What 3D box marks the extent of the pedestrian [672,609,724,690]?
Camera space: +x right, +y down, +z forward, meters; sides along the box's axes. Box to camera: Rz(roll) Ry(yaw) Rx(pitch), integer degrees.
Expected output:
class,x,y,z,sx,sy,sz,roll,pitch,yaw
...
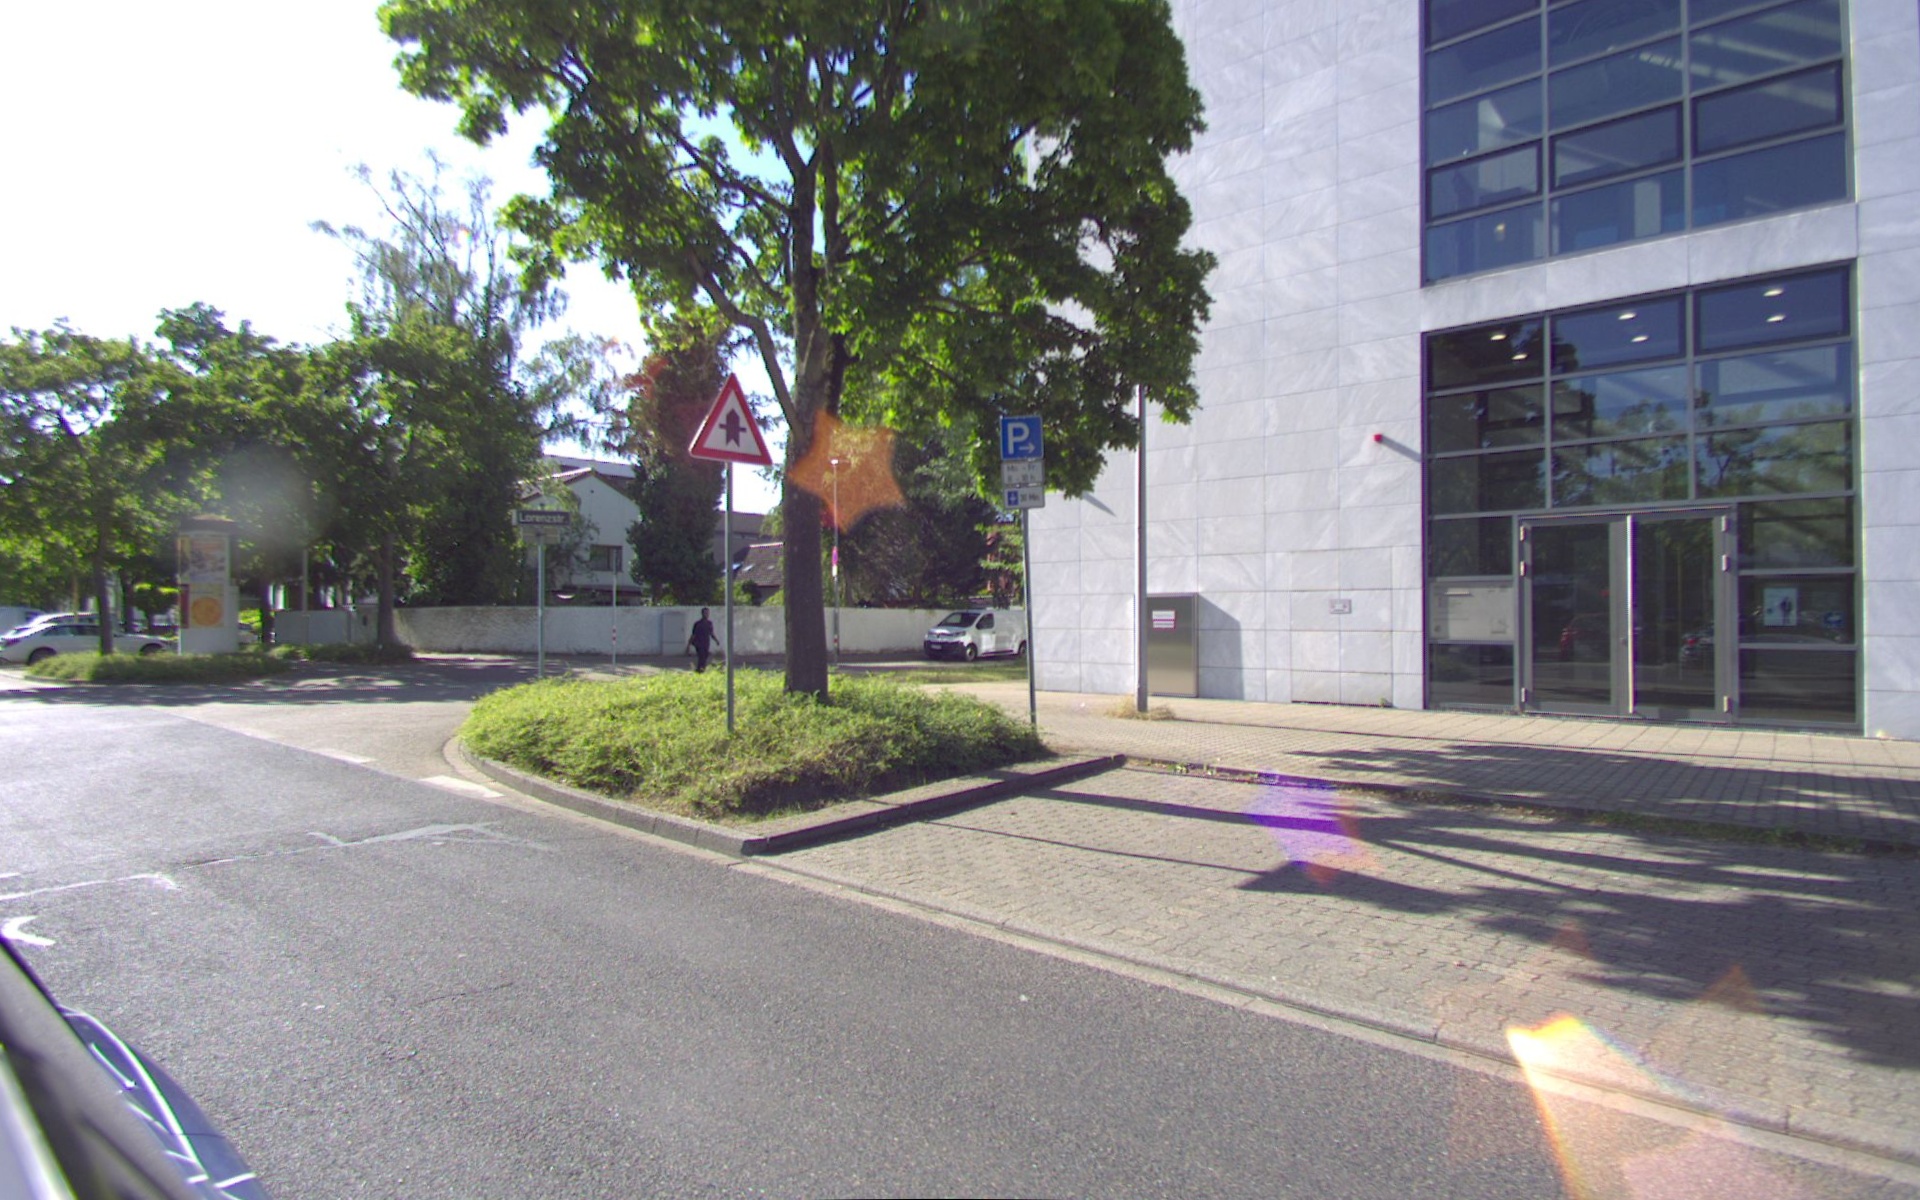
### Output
class,x,y,z,sx,sy,sz,roll,pitch,yaw
pedestrian,-5.639,1.063,21.785,0.825,1.697,0.809,2,-3,-36

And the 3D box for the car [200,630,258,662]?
class,x,y,z,sx,sy,sz,roll,pitch,yaw
car,-38.640,2.423,53.453,4.146,1.626,1.809,-1,-3,45

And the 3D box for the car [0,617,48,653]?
class,x,y,z,sx,sy,sz,roll,pitch,yaw
car,-50.150,1.841,52.111,1.998,1.844,4.505,-3,-3,39

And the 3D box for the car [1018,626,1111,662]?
class,x,y,z,sx,sy,sz,roll,pitch,yaw
car,4.454,1.823,42.689,1.831,1.434,4.224,0,-1,41

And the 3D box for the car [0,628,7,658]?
class,x,y,z,sx,sy,sz,roll,pitch,yaw
car,-62.844,2.720,63.291,1.998,1.844,4.505,-3,-3,39

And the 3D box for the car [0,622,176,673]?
class,x,y,z,sx,sy,sz,roll,pitch,yaw
car,-29.235,1.539,33.770,1.828,1.416,4.623,-2,0,42

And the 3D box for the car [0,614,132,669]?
class,x,y,z,sx,sy,sz,roll,pitch,yaw
car,-34.947,1.572,38.874,1.998,2.006,4.574,-3,-3,39

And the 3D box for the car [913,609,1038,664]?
class,x,y,z,sx,sy,sz,roll,pitch,yaw
car,0.678,1.332,38.278,1.904,1.929,5.077,0,-1,41

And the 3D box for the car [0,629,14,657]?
class,x,y,z,sx,sy,sz,roll,pitch,yaw
car,-57.988,2.531,58.570,1.998,1.612,4.505,-3,-3,39

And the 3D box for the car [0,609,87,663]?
class,x,y,z,sx,sy,sz,roll,pitch,yaw
car,-42.959,1.629,45.718,1.998,2.397,5.067,-3,-3,39
